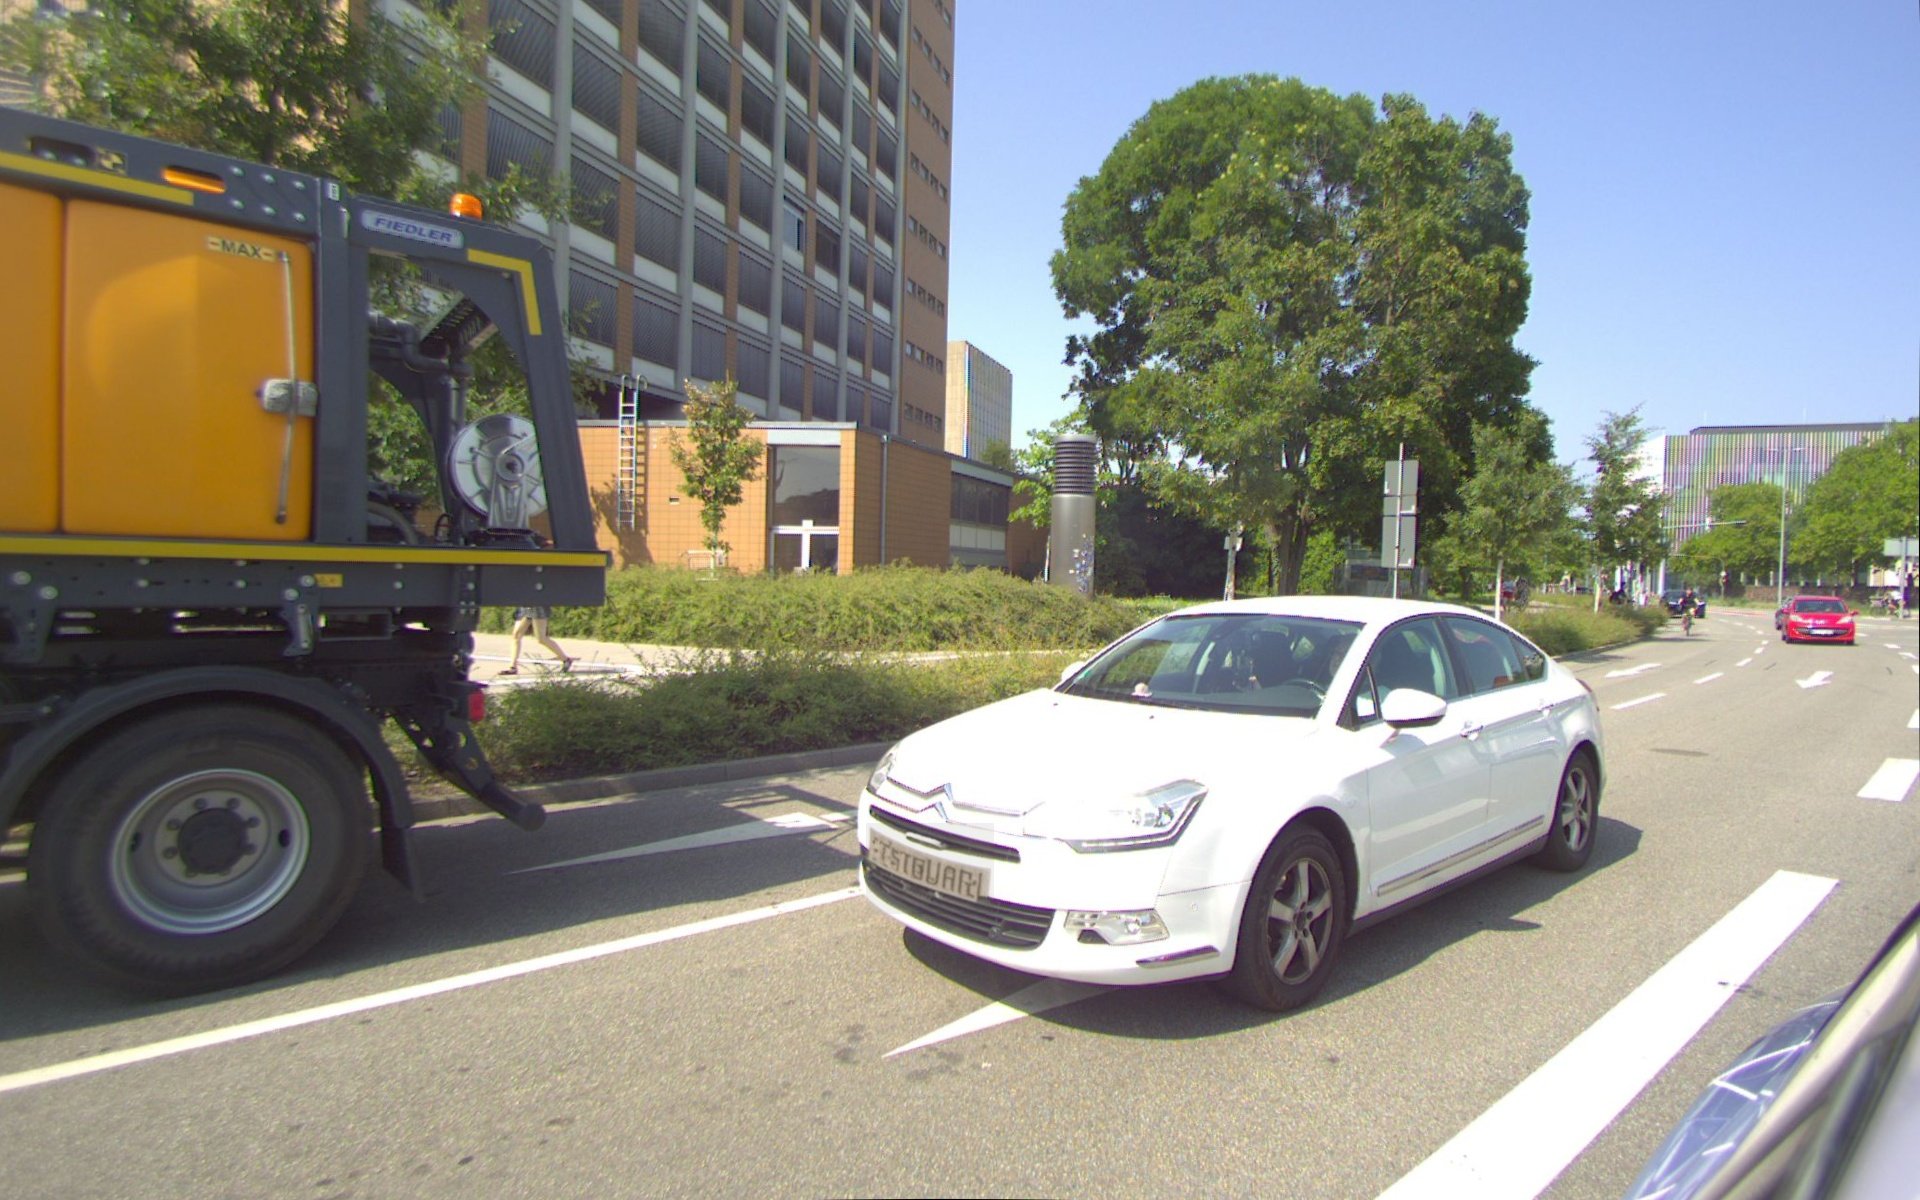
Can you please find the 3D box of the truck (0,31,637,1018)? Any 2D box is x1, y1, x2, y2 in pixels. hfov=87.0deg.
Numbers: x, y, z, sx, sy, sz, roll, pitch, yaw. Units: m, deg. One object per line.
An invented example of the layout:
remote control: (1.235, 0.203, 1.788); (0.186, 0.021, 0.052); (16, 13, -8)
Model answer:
truck: (-4.852, -0.247, 3.436); (6.737, 3.174, 2.498); (0, 0, -39)

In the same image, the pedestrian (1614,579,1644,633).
pedestrian: (24.498, 0.203, 37.059); (0.818, 1.926, 0.622); (2, 1, 37)

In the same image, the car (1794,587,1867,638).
car: (26.888, 0.354, 31.274); (1.644, 1.449, 3.759); (1, 1, 41)

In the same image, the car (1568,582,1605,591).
car: (94.197, -2.064, 152.259); (4.354, 1.405, 1.765); (0, 0, 13)

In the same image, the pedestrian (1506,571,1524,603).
pedestrian: (23.424, -0.550, 42.708); (0.630, 1.315, 0.481); (0, 0, 32)

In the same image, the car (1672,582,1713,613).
car: (42.587, -0.156, 58.815); (1.802, 1.682, 3.947); (3, 3, 37)

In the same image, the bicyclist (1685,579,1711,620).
bicyclist: (26.043, -0.032, 35.727); (0.675, 1.417, 1.036); (2, 1, 36)

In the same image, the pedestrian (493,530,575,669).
pedestrian: (-5.484, -0.023, 13.039); (0.792, 1.720, 0.671); (0, 1, -41)

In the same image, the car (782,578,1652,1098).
car: (1.571, 0.659, 4.987); (4.526, 1.446, 1.773); (0, 2, -39)

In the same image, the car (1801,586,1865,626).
car: (33.594, 0.200, 39.017); (1.556, 1.412, 3.207); (2, 2, 36)

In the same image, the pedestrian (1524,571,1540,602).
pedestrian: (23.963, -0.558, 42.378); (0.572, 1.315, 0.433); (0, 0, 31)

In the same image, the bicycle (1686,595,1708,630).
bicycle: (25.995, 0.418, 35.681); (0.591, 1.183, 2.206); (2, 2, 36)
